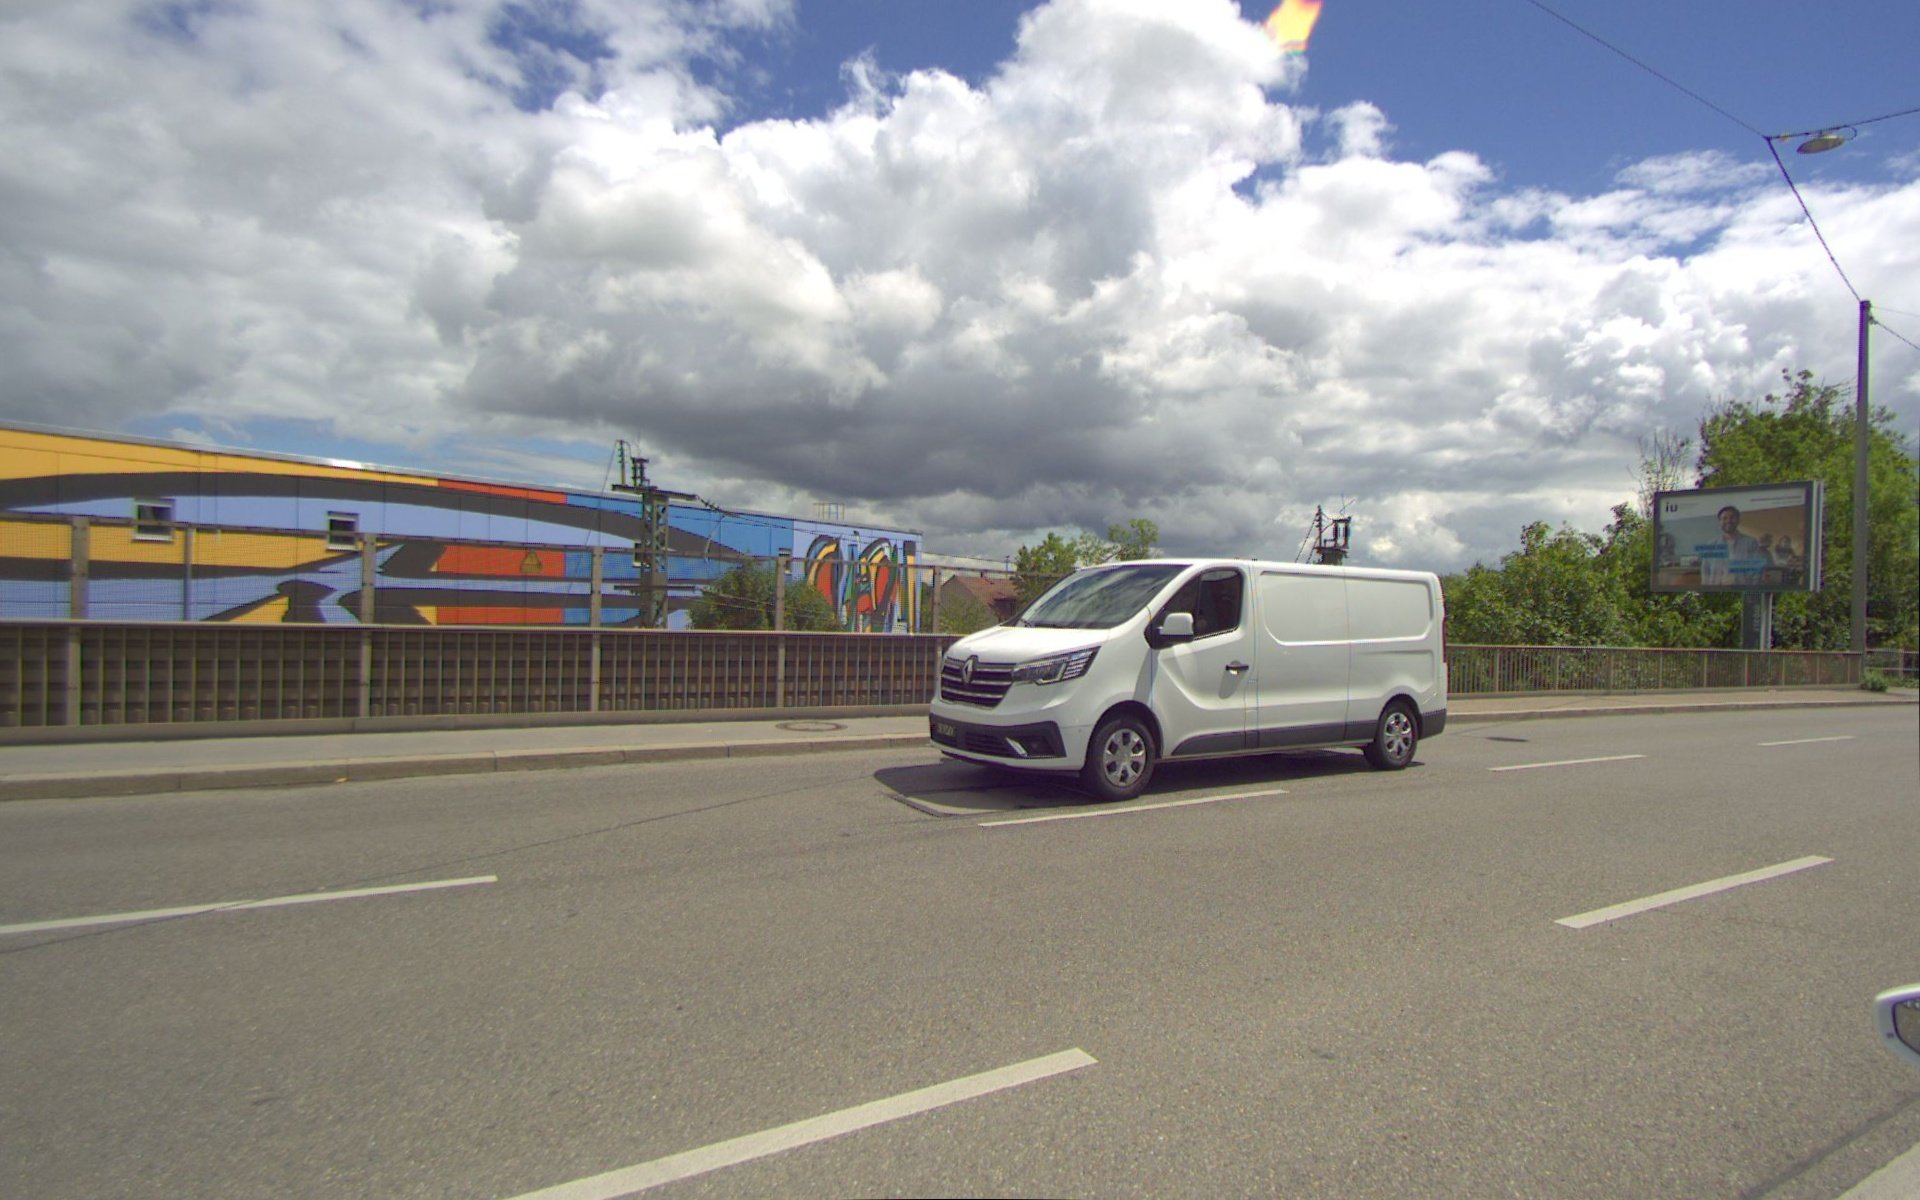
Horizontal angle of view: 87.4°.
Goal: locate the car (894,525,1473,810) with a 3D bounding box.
[{"bbox_3d":[2.300,0.543,9.470,5.587,2.040,1.881,2,0,-32],"label":"car"}]
